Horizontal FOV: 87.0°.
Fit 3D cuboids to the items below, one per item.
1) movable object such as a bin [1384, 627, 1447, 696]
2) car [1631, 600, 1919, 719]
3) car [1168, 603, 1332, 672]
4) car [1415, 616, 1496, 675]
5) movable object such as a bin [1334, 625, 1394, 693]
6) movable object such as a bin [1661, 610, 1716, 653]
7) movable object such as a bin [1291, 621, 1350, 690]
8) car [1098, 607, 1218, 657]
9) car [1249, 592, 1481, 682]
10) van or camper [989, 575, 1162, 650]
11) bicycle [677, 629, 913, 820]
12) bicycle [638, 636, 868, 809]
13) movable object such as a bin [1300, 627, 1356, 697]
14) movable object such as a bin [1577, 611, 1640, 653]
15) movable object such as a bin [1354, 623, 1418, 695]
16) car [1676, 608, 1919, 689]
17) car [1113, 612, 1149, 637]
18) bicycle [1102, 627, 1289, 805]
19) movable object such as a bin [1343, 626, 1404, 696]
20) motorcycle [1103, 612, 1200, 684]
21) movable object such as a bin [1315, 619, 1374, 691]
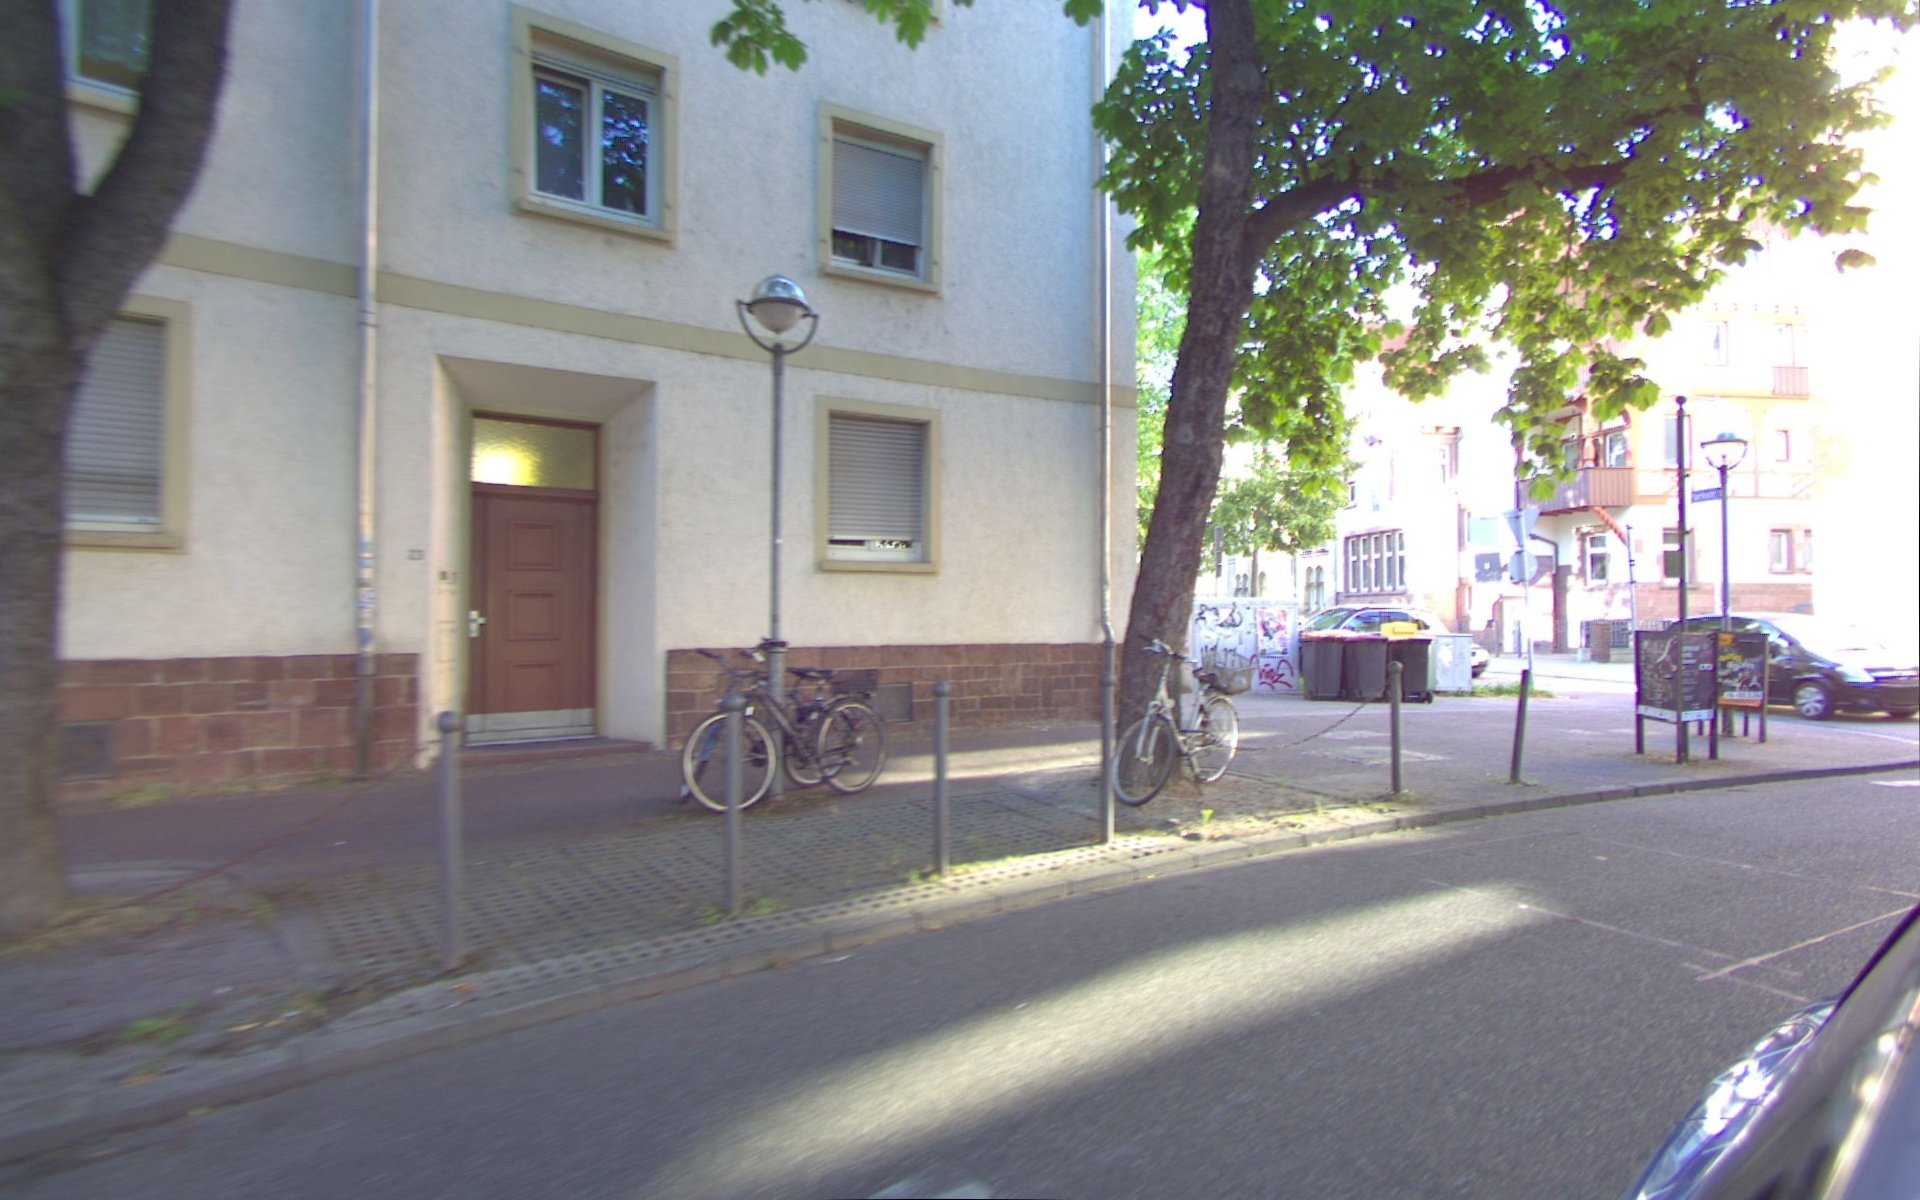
[{"bbox_3d":[7.354,0.988,16.356,0.646,1.078,0.695,0,-1,-6],"label":"movable object such as a bin"},{"bbox_3d":[13.495,0.861,16.311,1.959,1.614,4.268,-2,-1,-11],"label":"car"},{"bbox_3d":[7.310,0.926,25.715,3.632,1.672,1.705,0,-1,-3],"label":"car"},{"bbox_3d":[13.040,1.133,26.638,1.777,1.413,4.215,-1,-1,27],"label":"car"},{"bbox_3d":[7.117,1.024,17.858,0.725,1.168,0.717,0,-1,-6],"label":"movable object such as a bin"},{"bbox_3d":[23.359,0.993,32.463,1.355,1.334,0.688,0,-1,-14],"label":"movable object such as a bin"},{"bbox_3d":[6.319,0.959,17.771,0.725,1.168,0.702,0,-1,-6],"label":"movable object such as a bin"},{"bbox_3d":[6.484,1.052,33.403,3.528,1.525,1.679,1,-2,-6],"label":"car"},{"bbox_3d":[8.409,0.775,21.188,4.033,1.735,2.027,1,-2,-11],"label":"car"},{"bbox_3d":[4.890,0.547,43.402,6.953,3.117,2.468,0,-1,-9],"label":"van or camper"},{"bbox_3d":[-1.132,0.821,7.270,0.437,1.196,1.756,-1,-2,45],"label":"bicycle"},{"bbox_3d":[-1.480,0.843,7.526,0.391,1.123,1.774,-1,-2,43],"label":"bicycle"},{"bbox_3d":[5.895,0.981,16.227,0.581,1.097,0.674,0,-1,-8],"label":"movable object such as a bin"},{"bbox_3d":[20.668,1.015,32.274,1.355,1.315,0.967,-1,-1,3],"label":"movable object such as a bin"},{"bbox_3d":[7.189,0.984,17.102,0.725,1.168,0.702,0,-1,-6],"label":"movable object such as a bin"},{"bbox_3d":[17.631,0.970,21.568,1.676,1.504,3.801,-2,-1,-7],"label":"car"},{"bbox_3d":[11.750,1.669,69.647,1.655,1.528,2.864,-4,-1,-7],"label":"car"},{"bbox_3d":[1.843,0.817,7.769,0.554,1.197,1.761,-1,-2,45],"label":"bicycle"},{"bbox_3d":[6.608,0.963,16.202,0.618,1.089,0.706,0,-1,-6],"label":"movable object such as a bin"},{"bbox_3d":[3.619,0.884,19.367,0.958,1.296,2.186,1,-1,-15],"label":"motorcycle"},{"bbox_3d":[6.431,0.908,16.953,0.621,1.168,0.702,-1,-2,-6],"label":"movable object such as a bin"}]
